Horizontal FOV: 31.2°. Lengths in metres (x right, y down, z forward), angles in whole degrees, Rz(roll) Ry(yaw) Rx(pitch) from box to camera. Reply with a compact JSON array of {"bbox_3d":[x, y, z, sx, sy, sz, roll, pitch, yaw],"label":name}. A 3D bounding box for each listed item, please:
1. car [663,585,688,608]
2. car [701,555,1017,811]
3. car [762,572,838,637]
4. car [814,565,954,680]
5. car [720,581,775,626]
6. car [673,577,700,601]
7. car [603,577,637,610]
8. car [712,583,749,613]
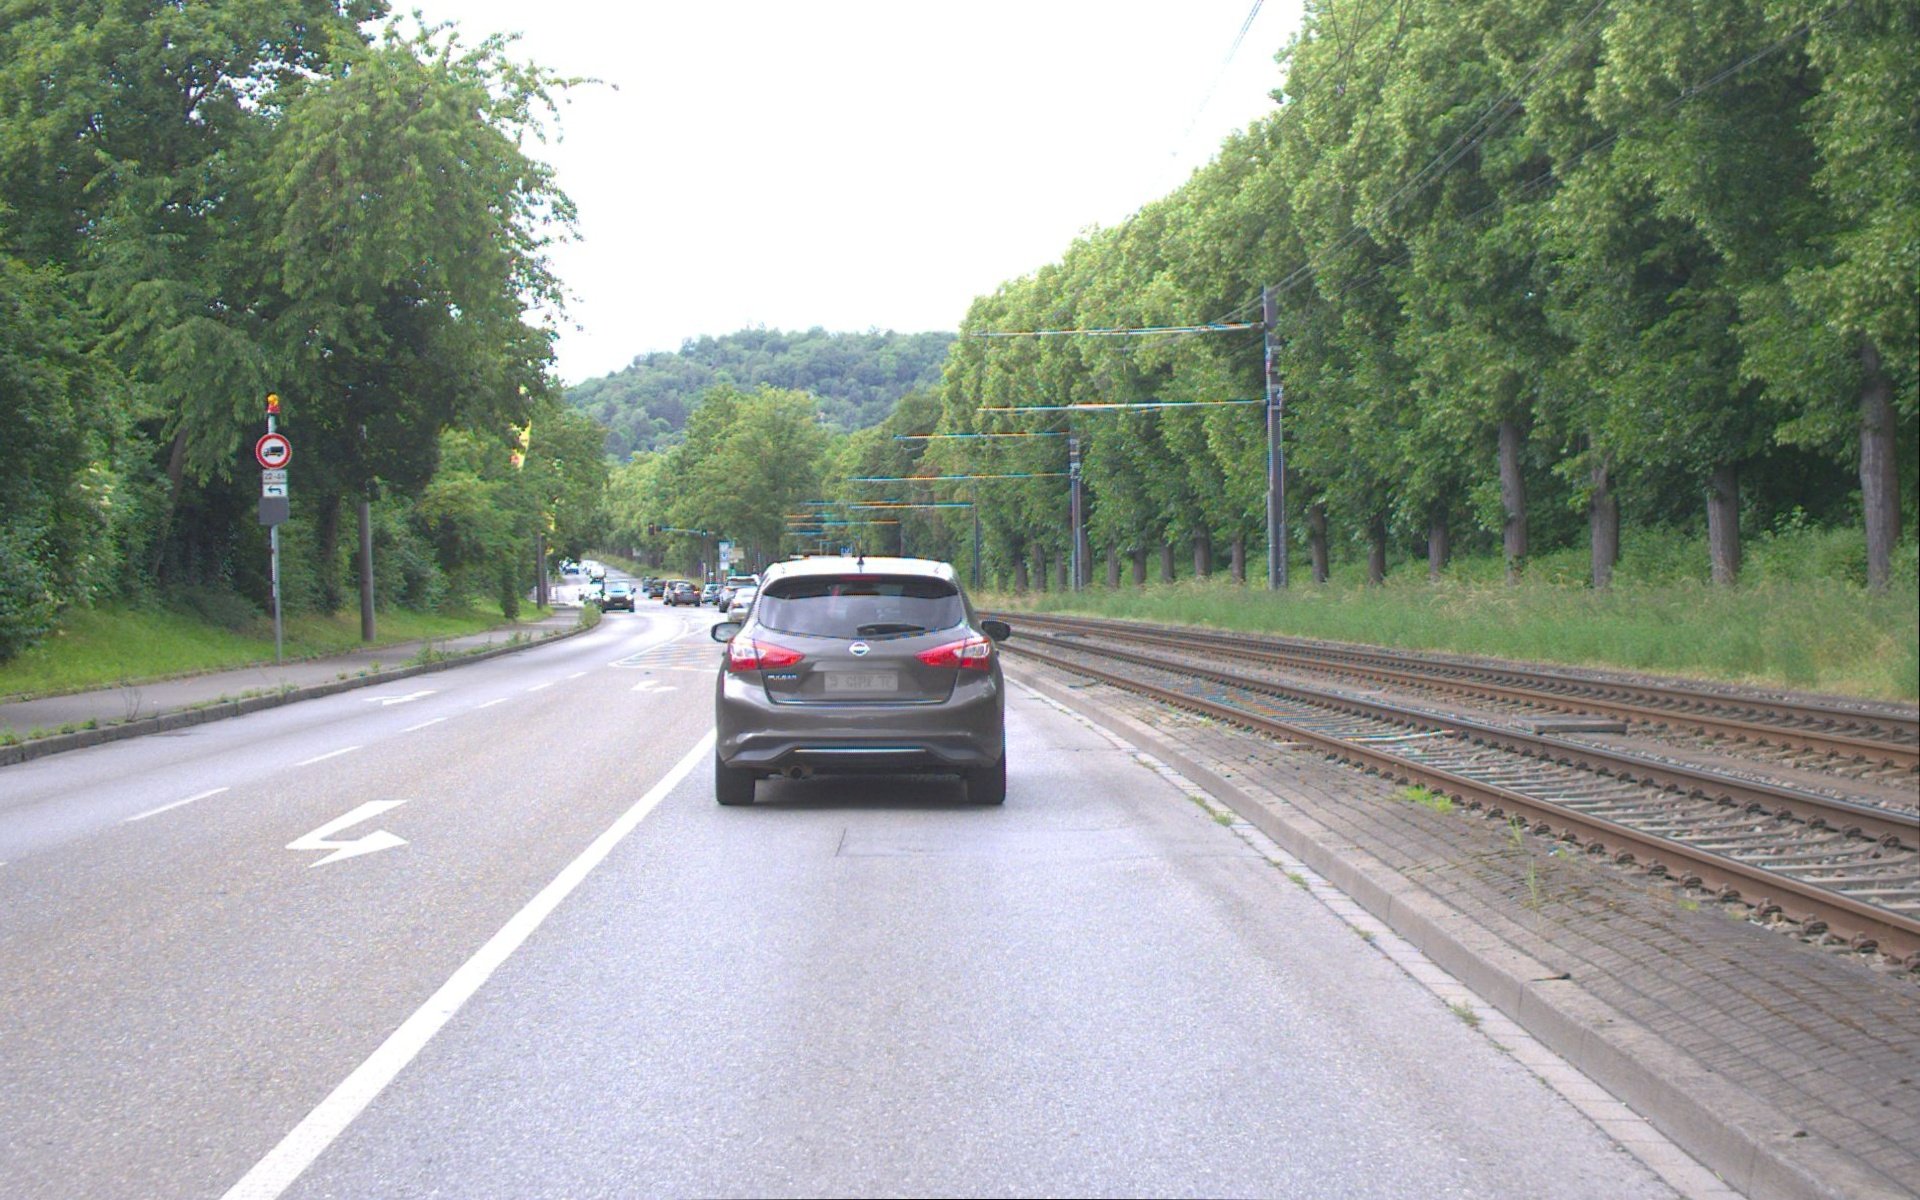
[{"bbox_3d":[-21.247,-0.243,256.830,1.699,1.708,4.000,0,0,-2],"label":"car"},{"bbox_3d":[-0.622,0.460,22.171,1.850,1.488,4.000,0,1,-1],"label":"car"},{"bbox_3d":[-3.636,0.103,78.514,1.699,1.439,4.000,0,0,-2],"label":"car"},{"bbox_3d":[-1.037,0.285,45.093,1.699,1.439,4.000,0,0,-3],"label":"car"},{"bbox_3d":[-6.920,0.119,112.116,1.699,1.439,4.000,0,0,-2],"label":"car"},{"bbox_3d":[-19.270,-0.755,242.137,1.699,1.708,4.000,0,0,-2],"label":"car"},{"bbox_3d":[-21.274,-0.418,215.079,1.993,2.029,5.116,-1,0,-4],"label":"car"},{"bbox_3d":[-11.753,-0.087,176.157,1.794,1.505,4.000,0,0,-2],"label":"car"}]
